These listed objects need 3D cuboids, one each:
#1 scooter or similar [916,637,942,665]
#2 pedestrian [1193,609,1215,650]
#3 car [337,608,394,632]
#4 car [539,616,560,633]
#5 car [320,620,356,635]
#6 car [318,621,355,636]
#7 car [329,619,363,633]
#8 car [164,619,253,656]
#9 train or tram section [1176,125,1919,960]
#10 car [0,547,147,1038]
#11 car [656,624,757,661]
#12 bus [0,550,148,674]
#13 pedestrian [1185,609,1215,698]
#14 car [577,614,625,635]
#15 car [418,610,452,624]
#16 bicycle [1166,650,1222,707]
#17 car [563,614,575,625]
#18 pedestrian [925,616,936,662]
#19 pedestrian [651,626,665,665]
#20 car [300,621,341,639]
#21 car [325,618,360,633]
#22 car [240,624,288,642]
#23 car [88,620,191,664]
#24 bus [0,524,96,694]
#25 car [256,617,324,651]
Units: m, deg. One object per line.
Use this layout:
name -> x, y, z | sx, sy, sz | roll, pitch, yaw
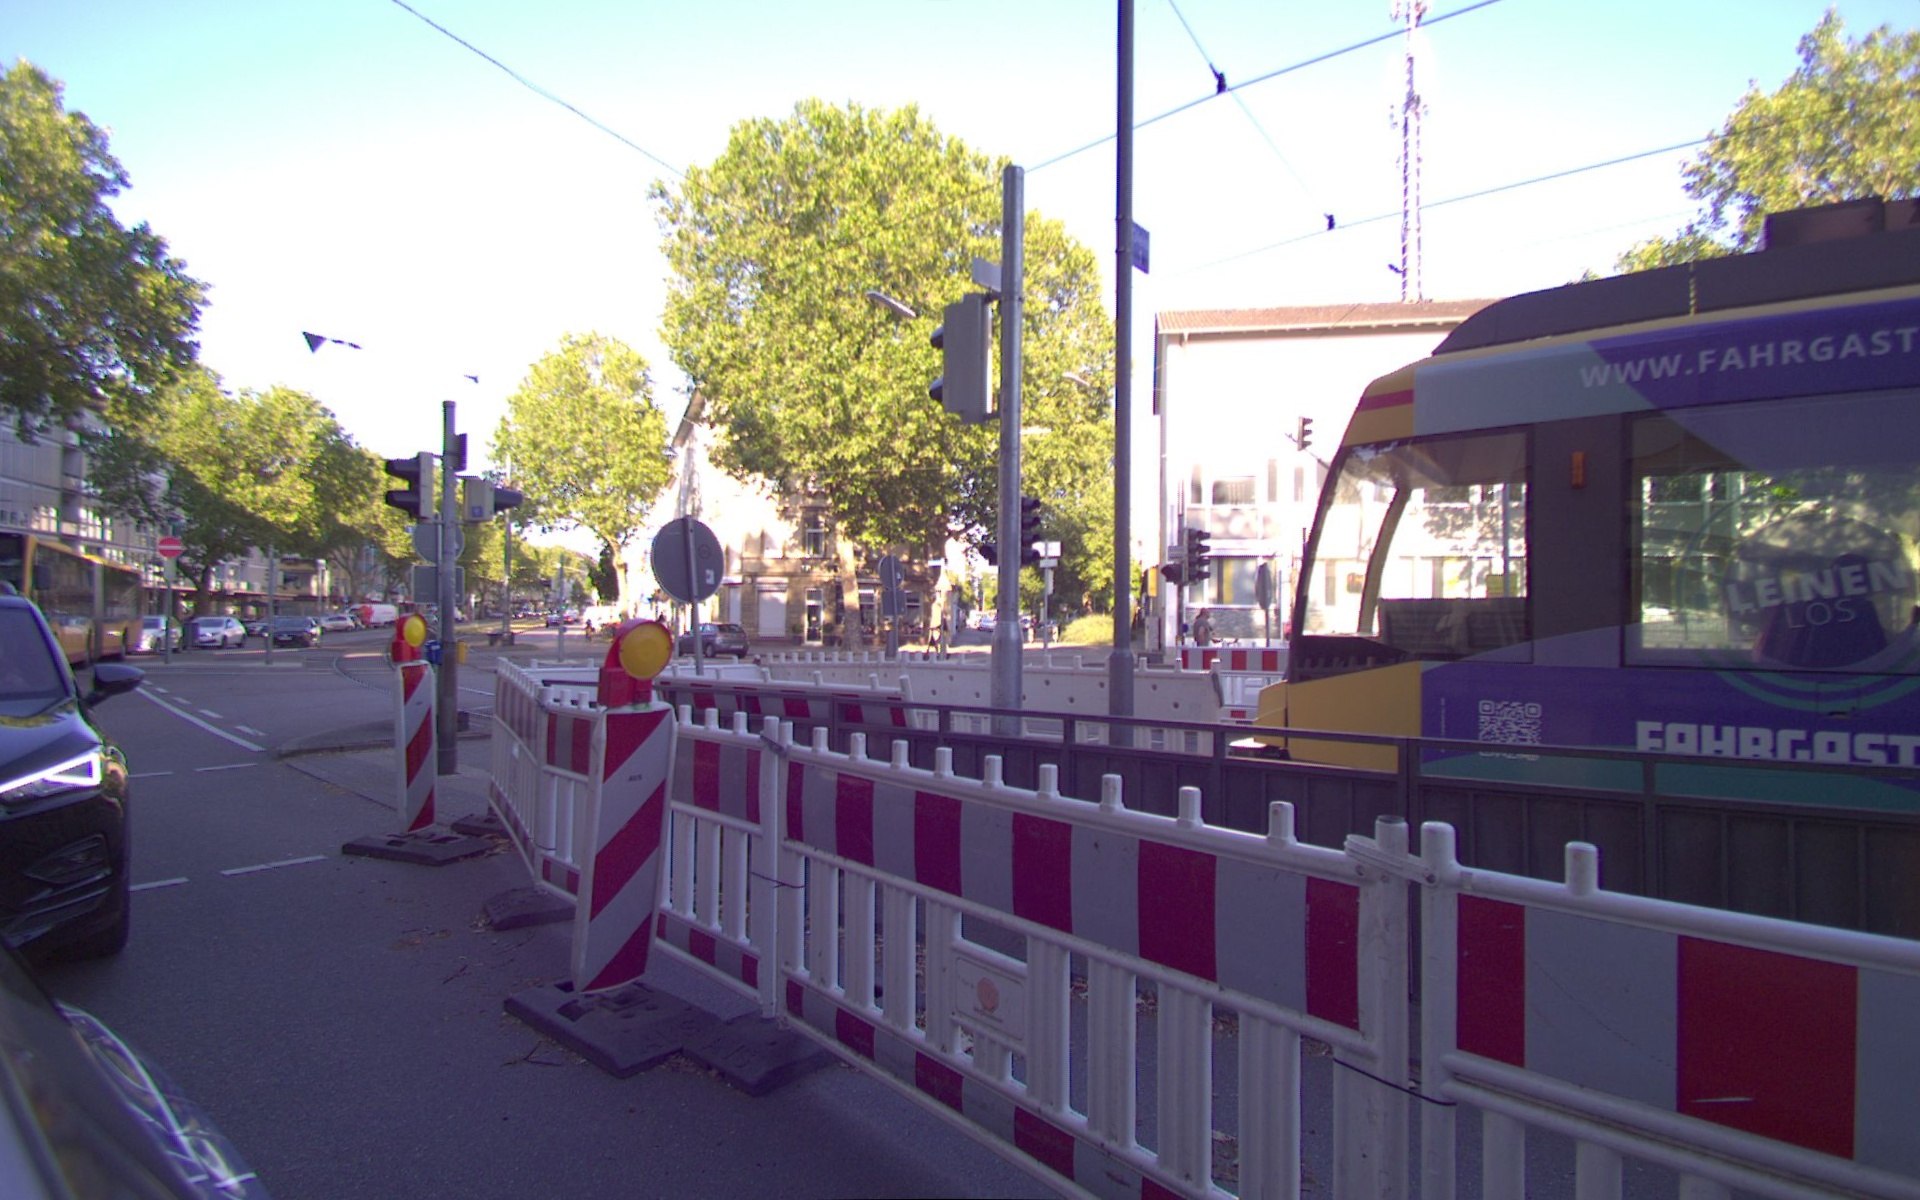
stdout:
scooter or similar -> -1.182, 1.952, 38.921 | 0.968, 1.047, 0.308 | 0, -1, 0
pedestrian -> 8.255, 0.985, 34.187 | 0.626, 1.367, 0.531 | -1, -2, 27
car -> -61.616, 2.046, 104.986 | 1.873, 2.394, 4.817 | 0, -1, 30
car -> -45.921, 2.756, 113.288 | 1.965, 1.881, 4.012 | 1, -1, -19
car -> -56.546, 2.516, 92.050 | 1.201, 1.290, 2.592 | 0, -1, 43
car -> -54.923, 2.503, 89.161 | 1.201, 1.290, 2.592 | 0, -1, 43
car -> -59.520, 2.500, 98.060 | 1.201, 1.355, 2.592 | 0, -1, 43
car -> -34.593, 1.713, 46.762 | 1.923, 1.562, 4.771 | 1, -1, -19
train or tram section -> 6.317, -0.251, 4.341 | 10.317, 3.514, 2.810 | -1, -1, 36
car -> -5.162, 0.687, 4.586 | 4.300, 1.670, 1.823 | -1, -1, 45
car -> -10.244, 1.679, 40.807 | 3.993, 1.420, 1.862 | -1, -2, 37
bus -> -26.349, 0.385, 29.785 | 2.708, 3.127, 9.523 | 1, -2, -32
pedestrian -> 4.724, 1.034, 19.880 | 0.539, 1.710, 0.515 | 0, -2, 18
car -> -34.231, 2.323, 96.536 | 1.994, 1.929, 3.954 | -1, -2, 33
car -> -77.515, 2.454, 149.443 | 1.874, 2.029, 3.956 | -1, -2, 32
bicycle -> 4.682, 1.555, 20.261 | 1.086, 1.101, 0.243 | 0, -2, 19
car -> -67.532, 3.372, 174.704 | 1.875, 1.918, 4.013 | 1, -1, -21
pedestrian -> -1.123, 1.503, 39.141 | 0.414, 1.780, 0.354 | 0, -1, -1
pedestrian -> -10.228, 1.548, 34.304 | 0.359, 1.318, 0.403 | 1, -2, -32
car -> -52.357, 2.431, 82.907 | 1.201, 1.484, 2.592 | 0, -1, 43
car -> -58.146, 2.370, 95.258 | 1.201, 1.399, 2.592 | 0, -1, 43
car -> -50.896, 2.419, 74.016 | 1.198, 1.226, 2.599 | 0, -1, 34
car -> -30.633, 1.524, 37.928 | 1.880, 1.486, 4.433 | 1, -1, -24
bus -> -21.043, 0.226, 21.936 | 2.710, 3.127, 9.519 | 1, -2, -36
car -> -31.854, 1.580, 48.257 | 1.923, 1.486, 4.772 | 1, -1, -24
